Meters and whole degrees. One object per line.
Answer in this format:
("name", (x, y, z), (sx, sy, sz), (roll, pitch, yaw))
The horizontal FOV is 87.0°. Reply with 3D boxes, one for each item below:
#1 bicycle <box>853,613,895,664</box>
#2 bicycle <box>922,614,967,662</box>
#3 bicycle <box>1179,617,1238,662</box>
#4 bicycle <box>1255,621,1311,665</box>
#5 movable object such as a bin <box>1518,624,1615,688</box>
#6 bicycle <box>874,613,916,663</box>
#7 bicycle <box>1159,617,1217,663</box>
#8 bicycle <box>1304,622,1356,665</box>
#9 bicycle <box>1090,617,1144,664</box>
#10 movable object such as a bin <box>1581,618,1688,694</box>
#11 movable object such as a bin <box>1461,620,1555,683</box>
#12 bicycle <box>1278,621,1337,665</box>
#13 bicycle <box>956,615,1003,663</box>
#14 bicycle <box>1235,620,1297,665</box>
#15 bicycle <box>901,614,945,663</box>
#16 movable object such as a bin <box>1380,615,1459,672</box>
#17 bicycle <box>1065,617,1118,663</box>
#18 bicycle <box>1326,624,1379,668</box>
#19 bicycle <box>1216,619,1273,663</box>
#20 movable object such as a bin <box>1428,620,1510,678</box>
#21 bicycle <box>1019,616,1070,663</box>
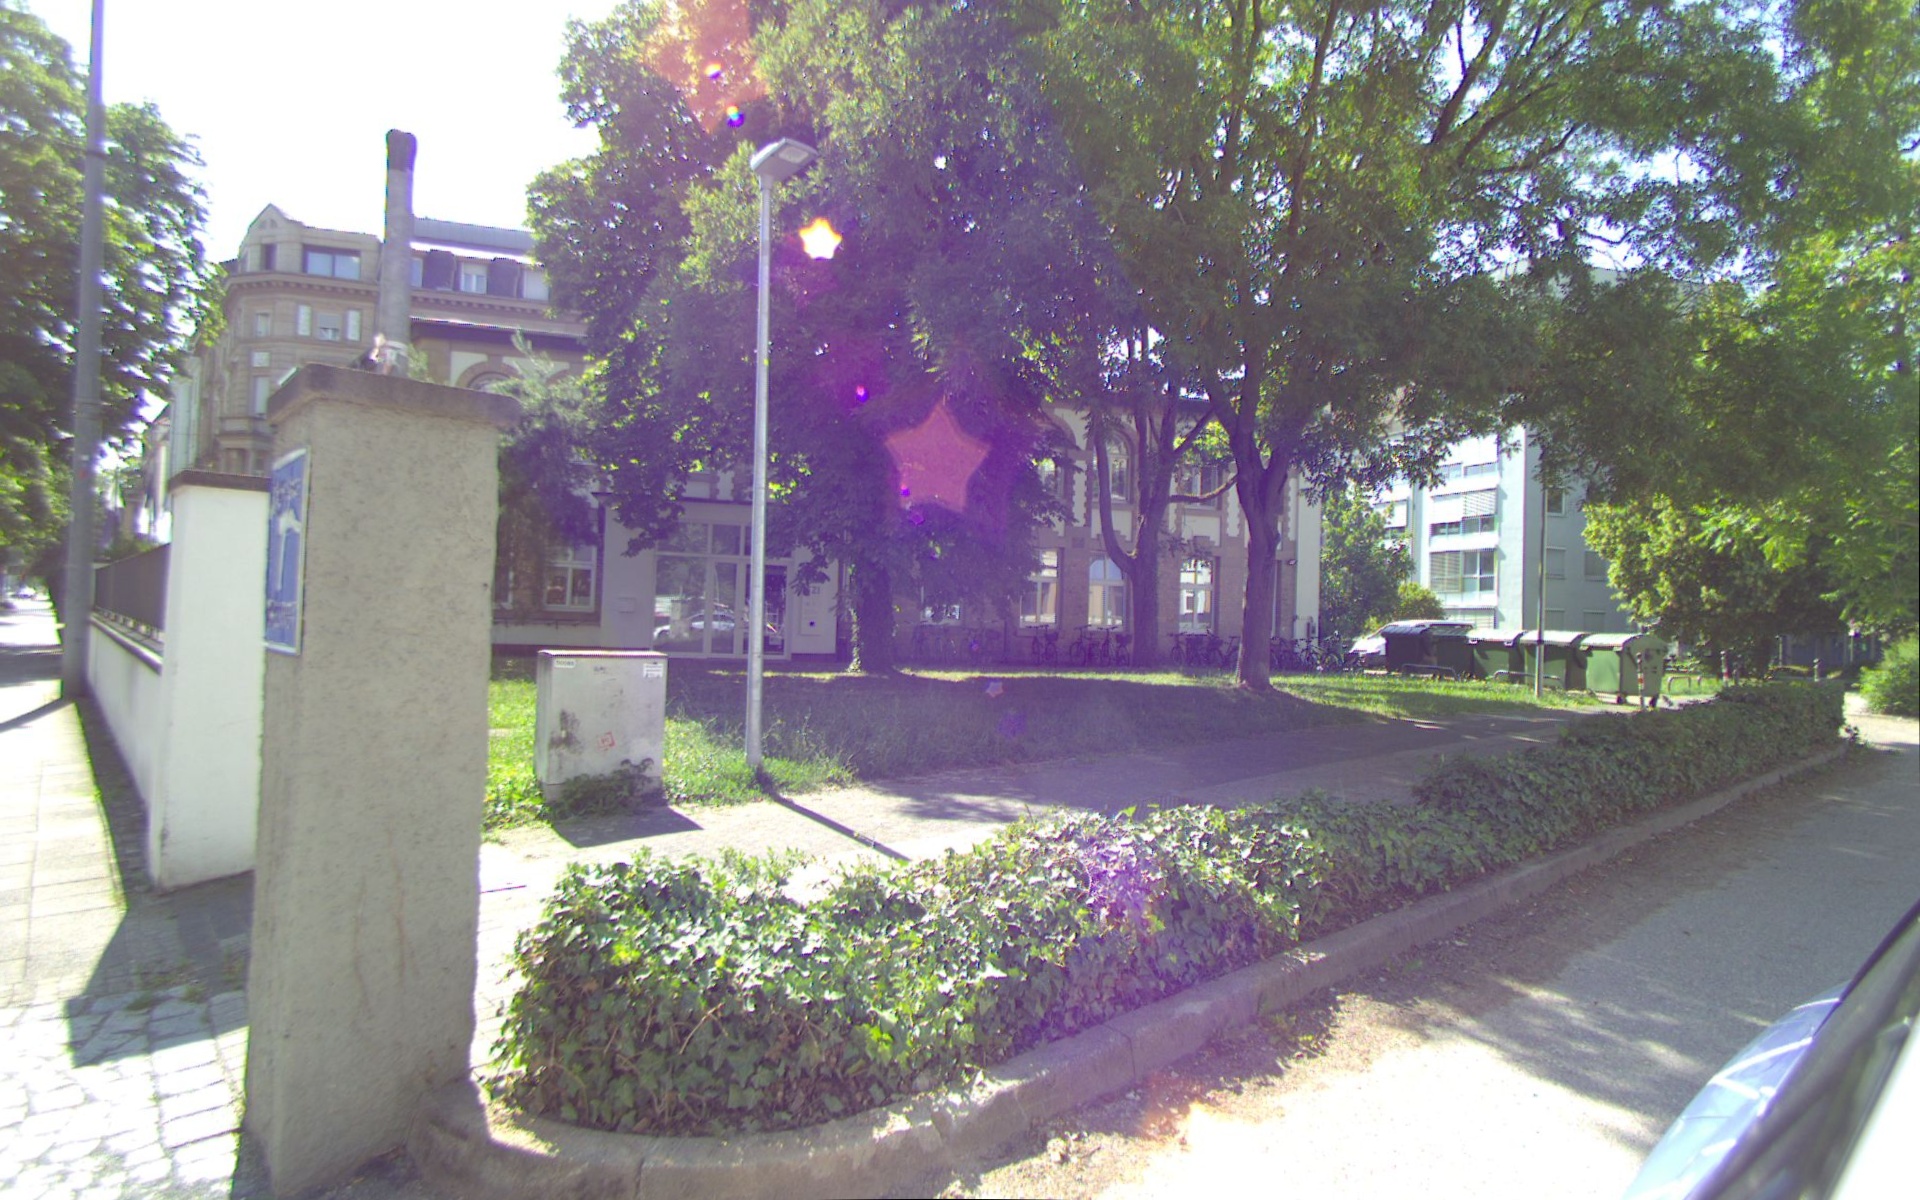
("bicycle", (-2.146, 0.934, 25.015), (0.575, 1.176, 2.107), (2, -1, -17))
("bicycle", (-0.416, 0.958, 26.128), (0.575, 1.176, 2.107), (2, -1, -17))
("bicycle", (6.868, 1.071, 28.084), (0.575, 1.176, 2.107), (2, -1, -17))
("bicycle", (9.147, 1.193, 28.712), (0.484, 1.176, 1.918), (2, -1, -17))
("movable object such as a bin", (13.214, 1.204, 22.085), (1.190, 1.317, 1.358), (2, -1, -20))
("bicycle", (-1.660, 0.943, 25.625), (0.575, 1.176, 2.107), (2, -1, -17))
("bicycle", (6.257, 1.071, 27.841), (0.575, 1.176, 2.107), (2, -1, -17))
("bicycle", (10.590, 1.230, 29.041), (0.496, 1.176, 1.808), (2, -1, -12))
("bicycle", (4.215, 1.070, 27.371), (0.575, 1.176, 2.107), (2, -1, -17))
("movable object such as a bin", (13.780, 1.123, 20.719), (1.191, 1.481, 1.393), (1, -1, -5))
("movable object such as a bin", (12.717, 1.178, 23.532), (1.190, 1.379, 1.505), (2, -1, -20))
("bicycle", (9.939, 1.224, 29.006), (0.600, 1.176, 1.855), (2, -1, -17))
("bicycle", (0.475, 0.990, 26.331), (0.575, 1.176, 2.107), (2, -1, -17))
("bicycle", (8.604, 1.172, 28.570), (0.575, 1.176, 2.107), (2, -1, -17))
("bicycle", (-0.964, 0.954, 25.832), (0.575, 1.176, 2.107), (2, -1, -17))
("movable object such as a bin", (12.035, 1.128, 26.555), (1.224, 1.427, 1.439), (2, -1, -21))
("bicycle", (3.499, 1.051, 27.117), (0.575, 1.176, 2.107), (2, -1, -17))
("bicycle", (11.216, 1.287, 28.970), (0.546, 1.176, 1.947), (1, -1, -7))
("bicycle", (7.924, 1.126, 28.290), (0.575, 1.176, 1.925), (2, -1, -17))
("movable object such as a bin", (12.591, 1.193, 25.078), (1.190, 1.366, 1.355), (2, -1, -20))
("bicycle", (2.211, 1.029, 26.768), (0.575, 1.176, 2.107), (2, -1, -17))
